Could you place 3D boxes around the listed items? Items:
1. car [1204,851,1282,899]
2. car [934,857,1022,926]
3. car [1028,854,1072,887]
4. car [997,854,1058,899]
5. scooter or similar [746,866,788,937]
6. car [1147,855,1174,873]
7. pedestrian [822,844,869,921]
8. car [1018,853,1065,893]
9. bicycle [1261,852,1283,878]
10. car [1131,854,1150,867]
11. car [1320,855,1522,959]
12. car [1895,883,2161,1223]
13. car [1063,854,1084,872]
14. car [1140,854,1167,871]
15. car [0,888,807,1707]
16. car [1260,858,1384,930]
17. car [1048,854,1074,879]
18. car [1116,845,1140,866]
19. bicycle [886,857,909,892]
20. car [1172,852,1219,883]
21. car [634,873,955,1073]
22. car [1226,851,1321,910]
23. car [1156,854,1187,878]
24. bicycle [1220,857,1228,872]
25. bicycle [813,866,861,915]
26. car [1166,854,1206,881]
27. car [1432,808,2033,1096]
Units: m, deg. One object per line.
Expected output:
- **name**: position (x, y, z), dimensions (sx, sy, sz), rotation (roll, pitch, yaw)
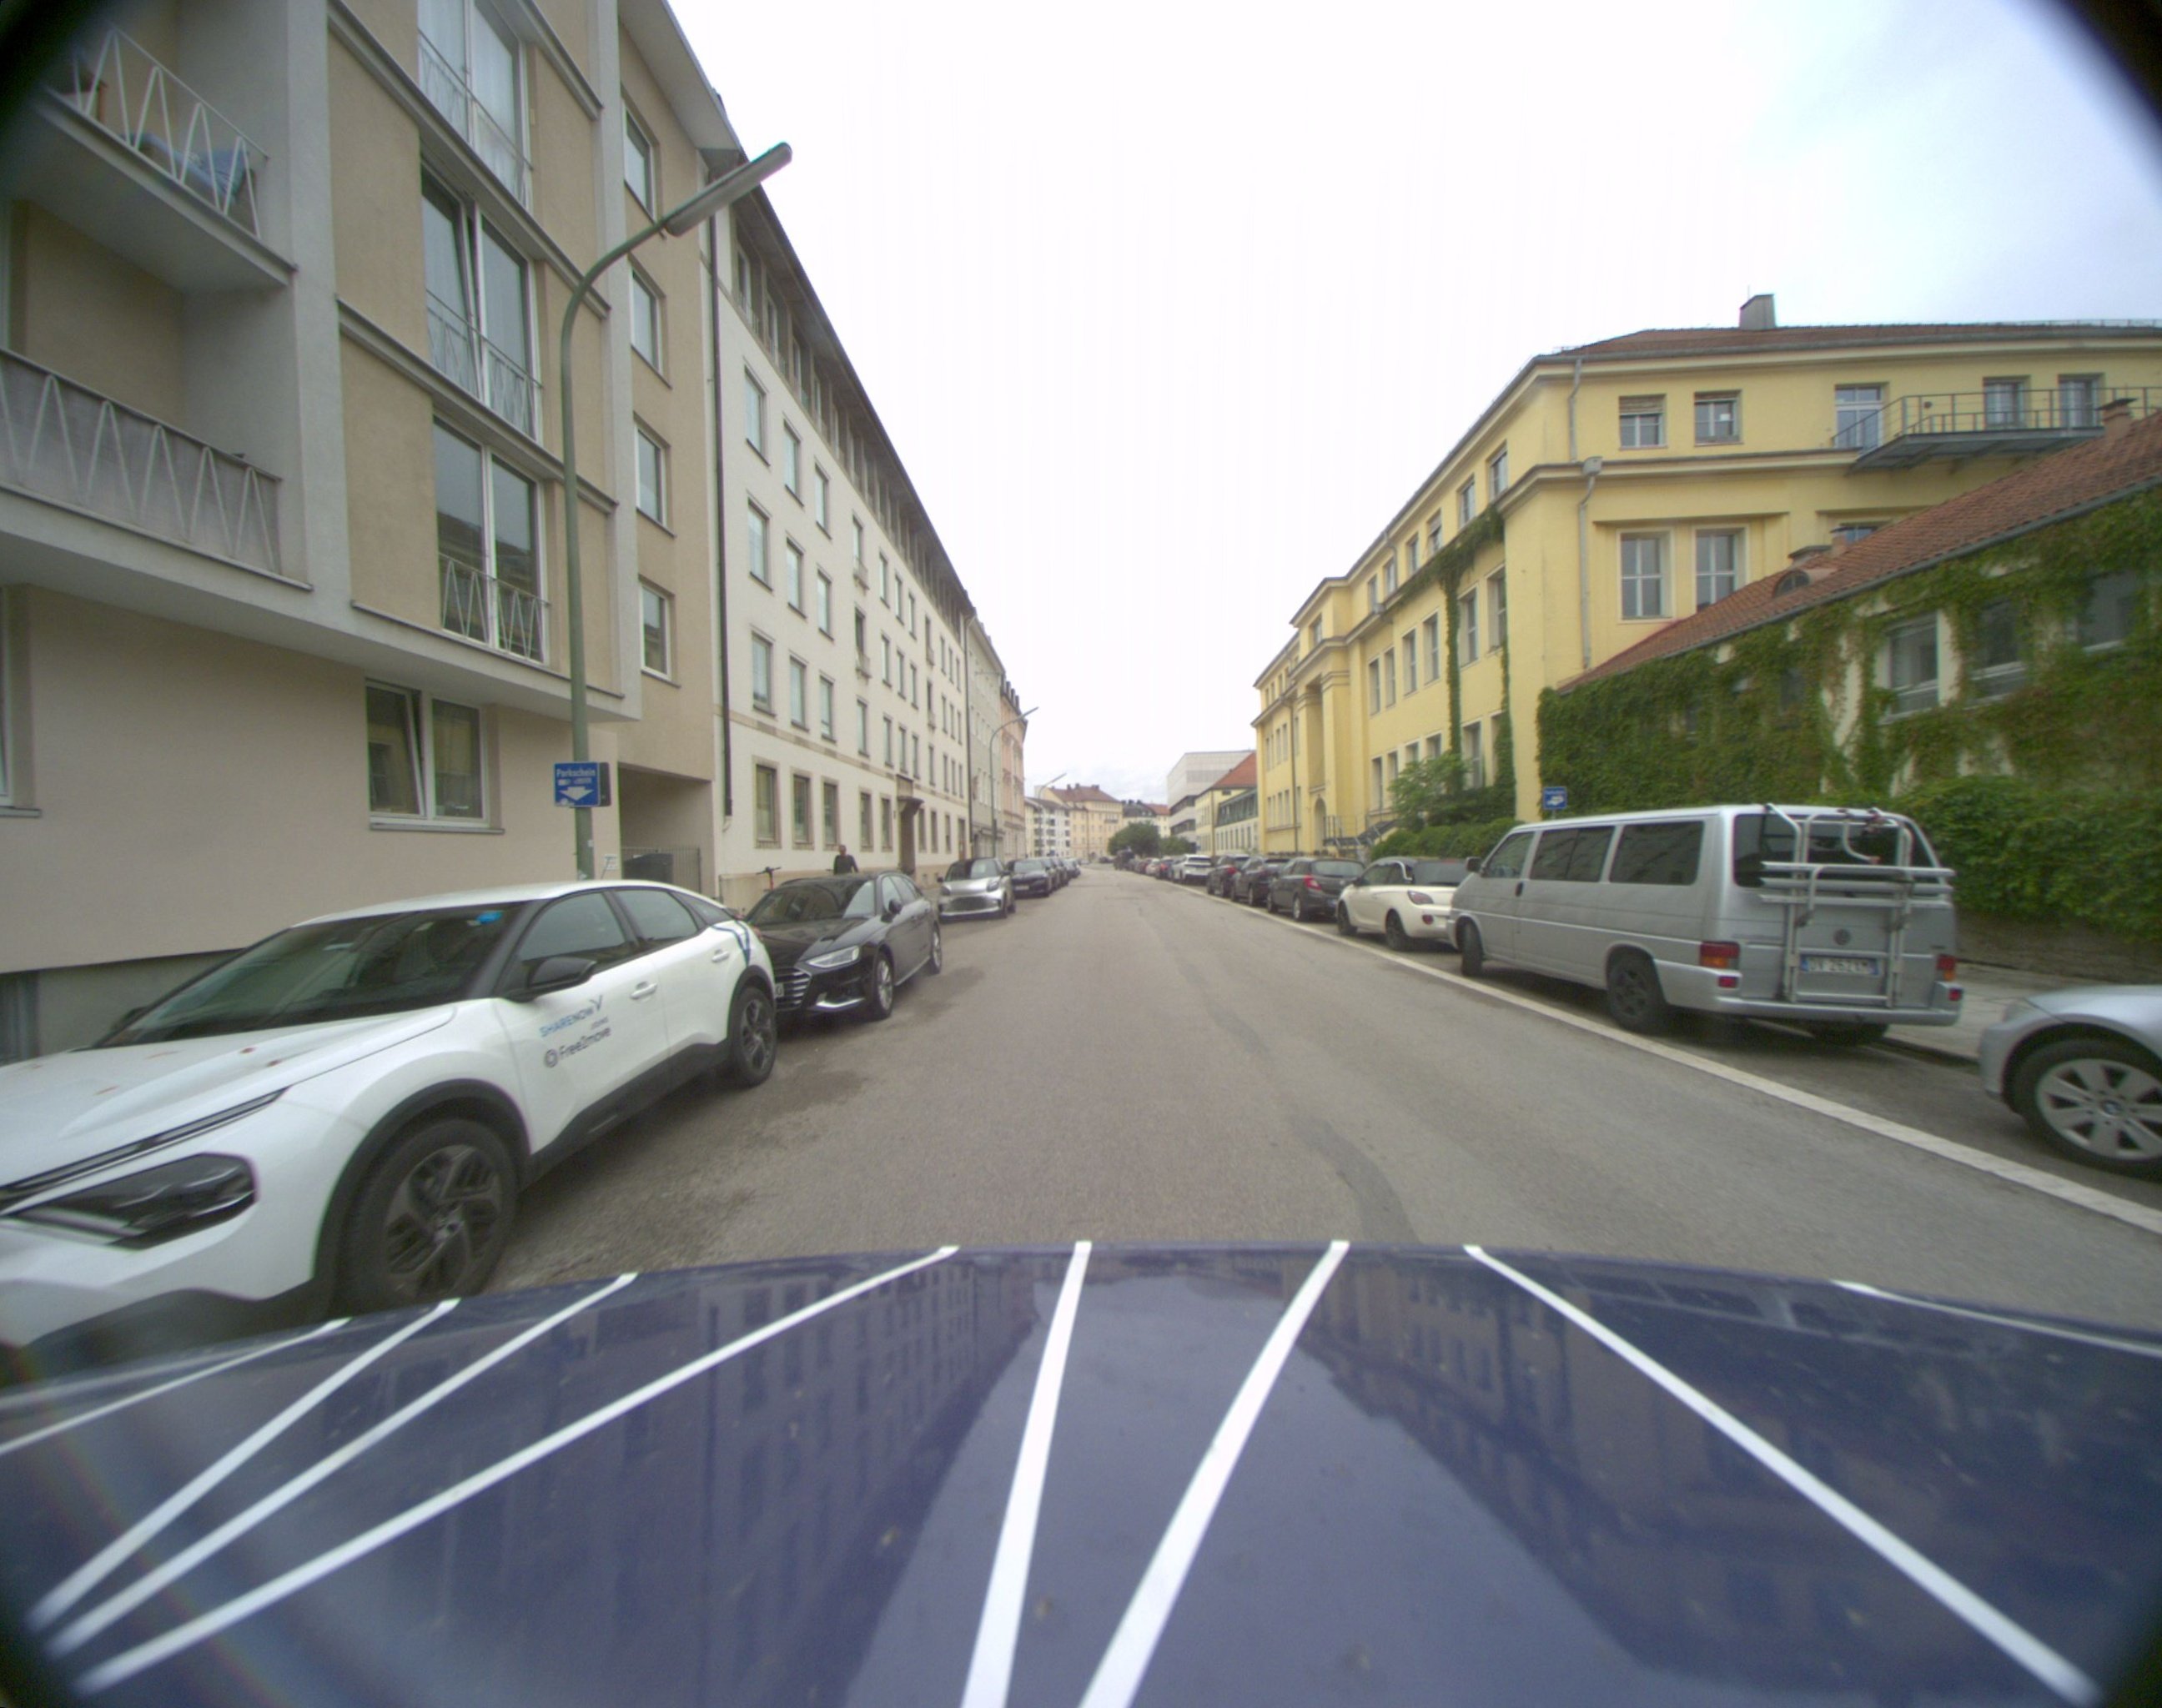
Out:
- **car**: position (5.864, 0.715, 28.105), dimensions (1.794, 1.577, 4.817), rotation (1, 0, 0)
- **car**: position (-2.560, 0.901, 19.499), dimensions (1.654, 1.486, 2.881), rotation (-4, 0, 2)
- **car**: position (-1.560, 0.803, 39.908), dimensions (1.844, 1.513, 4.709), rotation (-3, 0, 3)
- **car**: position (-1.984, 0.808, 29.792), dimensions (1.807, 1.476, 5.319), rotation (-4, 0, 1)
- **scooter or similar**: position (-6.777, 0.992, 16.473), dimensions (0.441, 1.351, 1.588), rotation (-2, 3, -10)
- **car**: position (6.709, 0.842, 64.614), dimensions (1.798, 1.421, 4.664), rotation (2, 0, 0)
- **pedestrian**: position (-5.675, 0.667, 18.350), dimensions (0.724, 1.754, 0.904), rotation (-2, 4, 2)
- **car**: position (-1.743, 0.812, 35.043), dimensions (1.649, 1.580, 4.634), rotation (-4, 0, 2)
- **bicycle**: position (10.253, 0.576, 40.932), dimensions (0.682, 1.321, 2.113), rotation (-2, 0, 2)
- **car**: position (7.421, 0.873, 95.557), dimensions (1.918, 1.578, 4.352), rotation (2, -1, -1)
- **car**: position (5.516, 0.763, 12.922), dimensions (1.595, 1.433, 4.018), rotation (1, 0, 0)
- **car**: position (5.416, 0.905, 1.922), dimensions (1.657, 1.406, 4.771), rotation (2, 0, 2)
- **car**: position (-0.754, 0.867, 75.881), dimensions (1.686, 1.663, 3.802), rotation (-3, 0, -6)
- **car**: position (6.701, 0.767, 70.306), dimensions (1.963, 1.473, 4.528), rotation (1, 0, -1)
- **car**: position (-3.065, 1.077, 3.769), dimensions (1.698, 1.480, 4.579), rotation (-4, 0, -1)
- **car**: position (5.592, 0.857, 18.178), dimensions (1.607, 1.422, 4.251), rotation (2, 1, 0)
- **car**: position (-1.402, 0.862, 53.422), dimensions (1.711, 1.583, 4.361), rotation (-3, 0, -2)
- **car**: position (6.572, 0.243, 106.500), dimensions (2.220, 2.837, 6.193), rotation (1, 0, -6)
- **bicycle**: position (-6.650, 0.730, 27.639), dimensions (0.514, 1.215, 1.988), rotation (-1, 0, -5)
- **car**: position (6.201, 0.681, 41.728), dimensions (1.750, 1.624, 4.855), rotation (0, 0, -1)
- **car**: position (-2.760, 1.039, 8.705), dimensions (1.750, 1.380, 4.953), rotation (-4, 0, 0)
- **car**: position (5.724, 0.719, 23.158), dimensions (1.728, 1.620, 4.465), rotation (1, 0, 0)
- **car**: position (6.131, 0.790, 51.810), dimensions (1.703, 1.488, 4.149), rotation (2, 0, 1)
- **bicycle**: position (11.132, 0.803, 59.037), dimensions (0.538, 1.056, 1.641), rotation (-2, 0, 11)
- **bicycle**: position (-6.664, 0.964, 20.869), dimensions (0.531, 1.211, 2.103), rotation (-2, 0, 3)
- **car**: position (6.390, 0.787, 46.693), dimensions (1.707, 1.493, 4.494), rotation (4, 0, 0)
- **car**: position (5.430, 0.632, 7.458), dimensions (1.891, 1.879, 4.774), rotation (1, 1, 3)
